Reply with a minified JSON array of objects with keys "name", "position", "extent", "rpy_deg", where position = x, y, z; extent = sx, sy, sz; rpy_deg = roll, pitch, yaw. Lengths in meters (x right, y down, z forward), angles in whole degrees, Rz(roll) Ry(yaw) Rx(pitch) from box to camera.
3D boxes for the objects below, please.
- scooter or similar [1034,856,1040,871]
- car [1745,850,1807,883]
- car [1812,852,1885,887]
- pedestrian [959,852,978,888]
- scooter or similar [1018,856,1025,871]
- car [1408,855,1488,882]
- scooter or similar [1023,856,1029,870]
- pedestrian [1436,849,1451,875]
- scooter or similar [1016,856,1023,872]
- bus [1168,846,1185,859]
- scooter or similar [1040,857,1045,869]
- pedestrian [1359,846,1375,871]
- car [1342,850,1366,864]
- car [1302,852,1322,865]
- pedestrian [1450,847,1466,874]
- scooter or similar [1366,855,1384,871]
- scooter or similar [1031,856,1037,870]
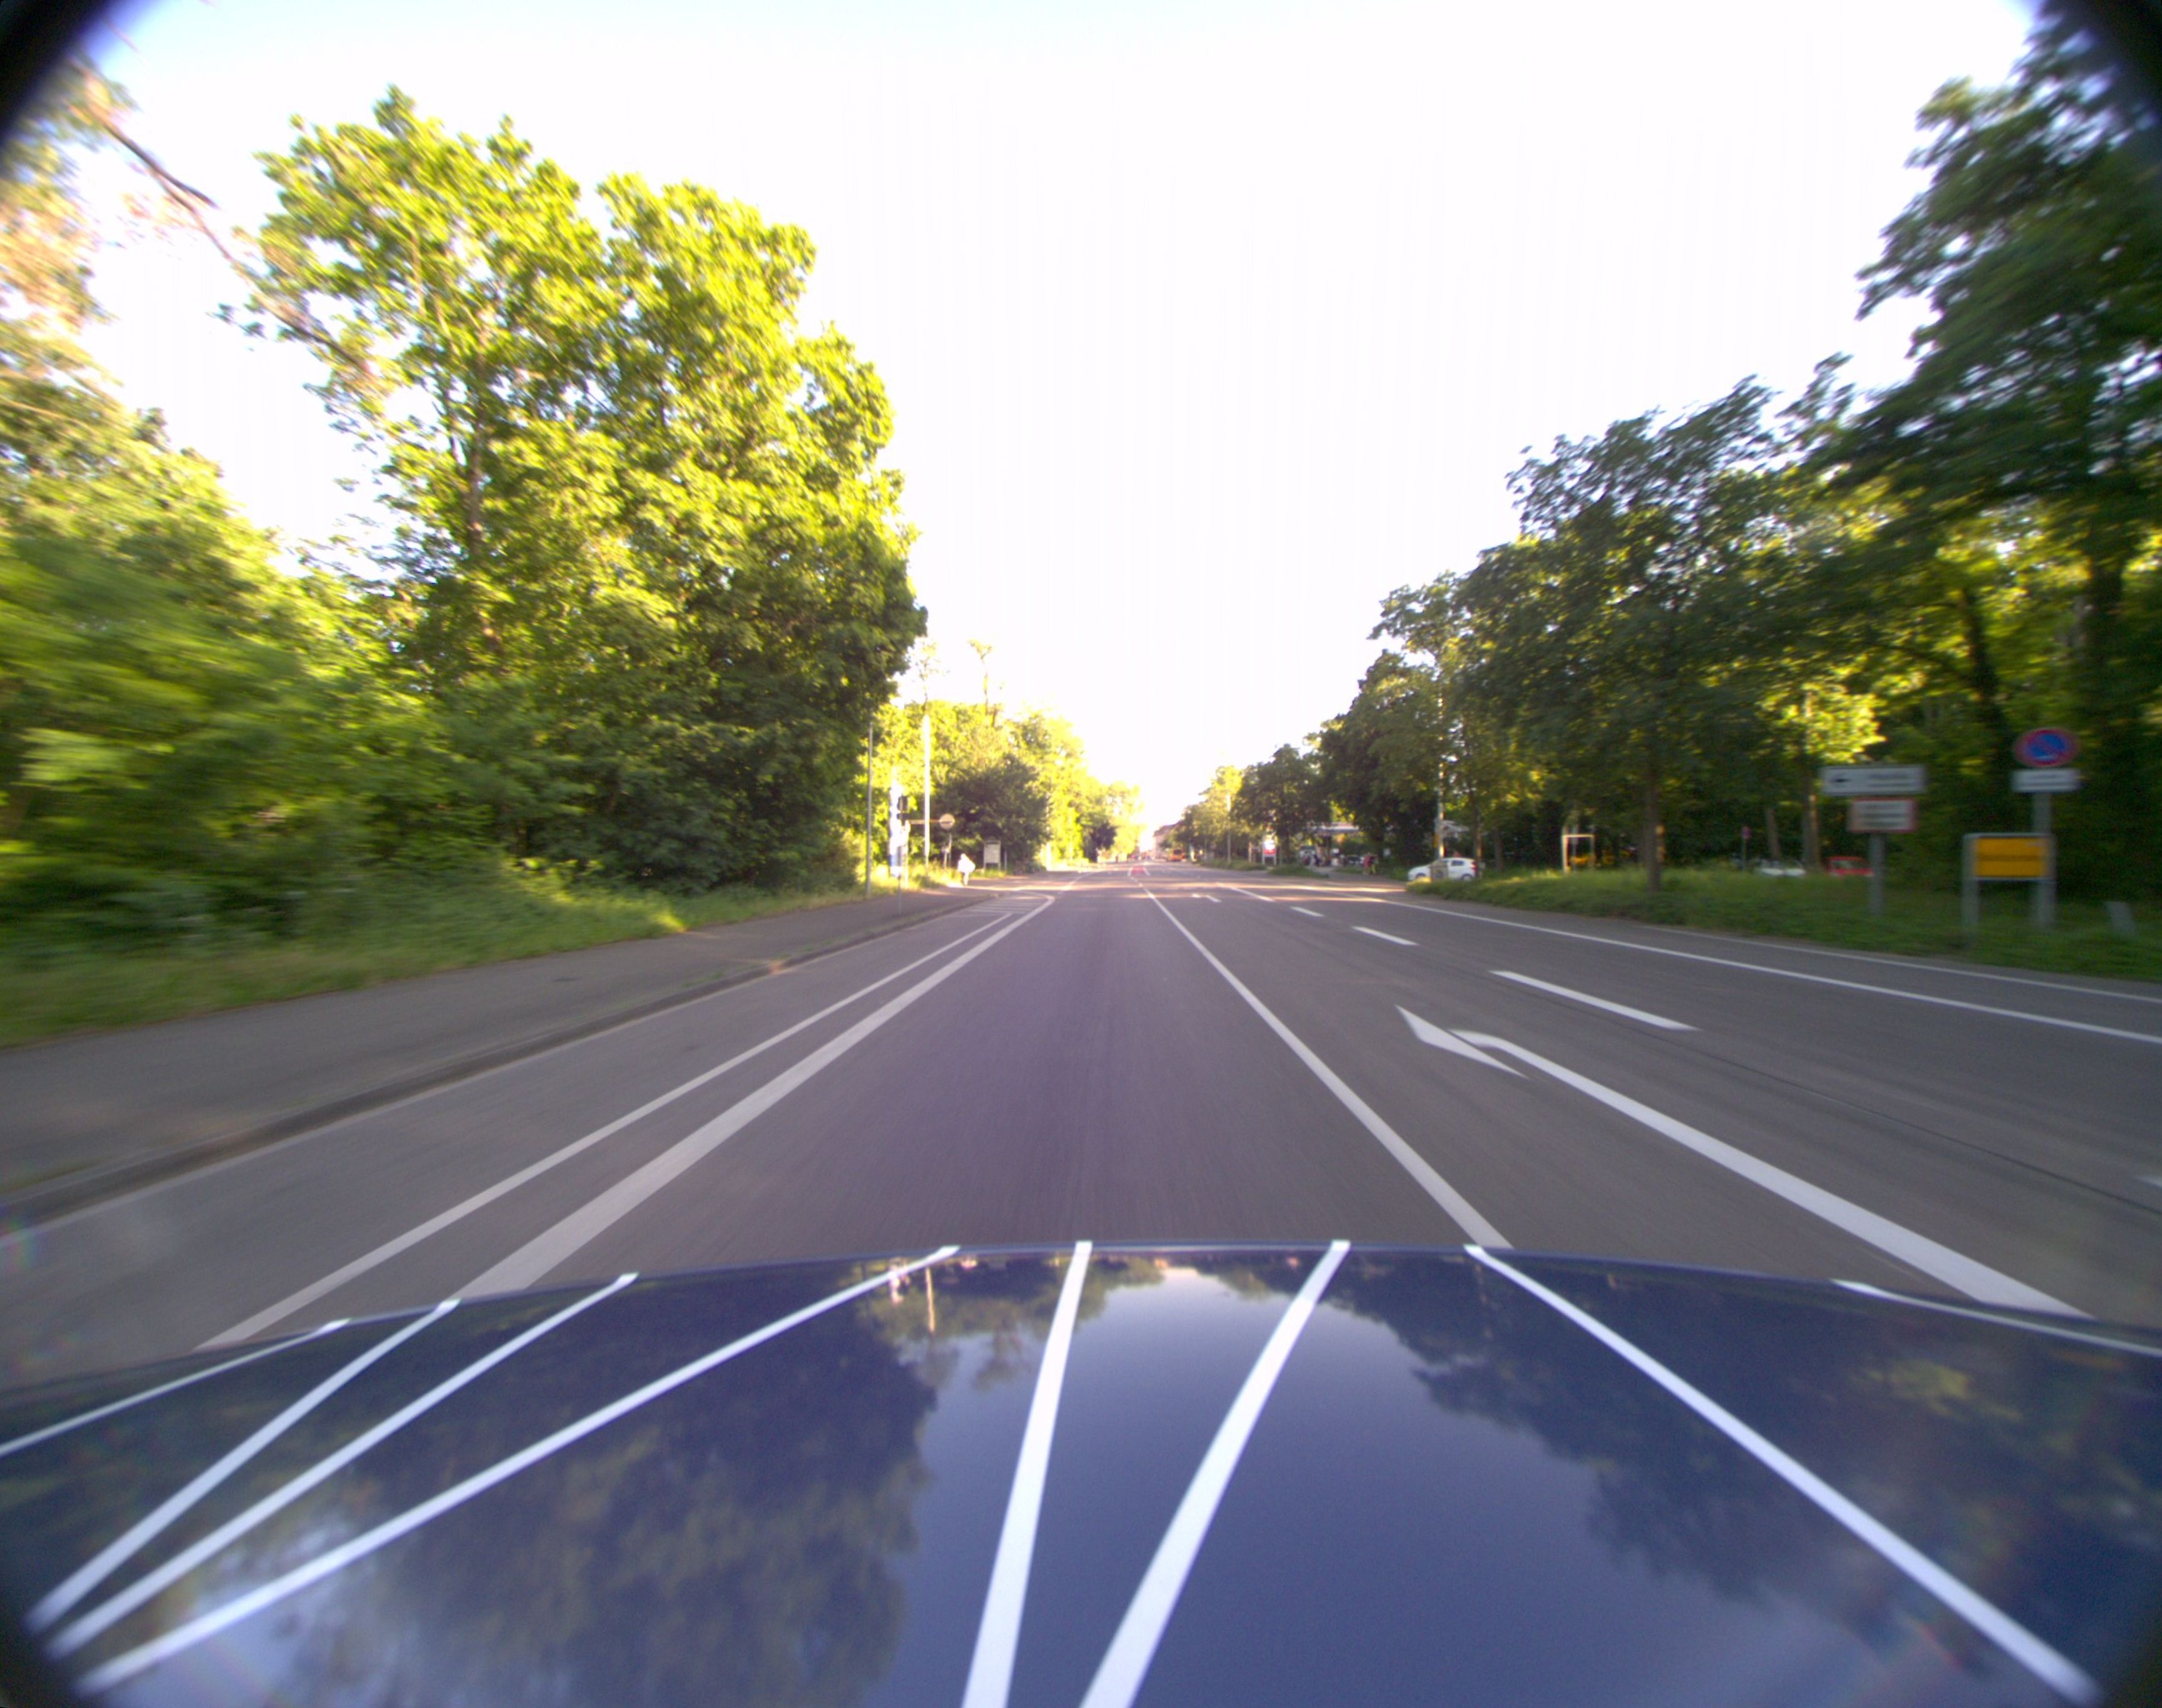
[{"name":"scooter or similar","position":[-3.643,0.794,63.484],"extent":[0.386,1.177,1.103],"rpy_deg":[0,1,3]},{"name":"car","position":[36.422,0.607,39.933],"extent":[1.825,1.644,4.300],"rpy_deg":[0,1,35]},{"name":"car","position":[38.533,0.706,38.264],"extent":[1.825,1.644,4.300],"rpy_deg":[0,1,35]},{"name":"pedestrian","position":[-5.735,0.817,38.863],"extent":[0.809,1.789,0.734],"rpy_deg":[0,1,3]},{"name":"scooter or similar","position":[-4.712,0.756,60.360],"extent":[0.386,1.177,1.103],"rpy_deg":[0,1,3]},{"name":"car","position":[21.397,0.806,44.374],"extent":[3.932,1.517,1.835],"rpy_deg":[0,1,36]},{"name":"scooter or similar","position":[-4.453,0.731,61.547],"extent":[0.386,1.177,1.103],"rpy_deg":[0,1,3]},{"name":"pedestrian","position":[25.110,0.532,52.609],"extent":[0.832,1.809,0.738],"rpy_deg":[0,1,33]},{"name":"scooter or similar","position":[-4.773,0.775,58.652],"extent":[0.386,1.177,1.188],"rpy_deg":[0,1,3]},{"name":"bus","position":[24.670,-0.390,196.575],"extent":[3.038,3.388,9.479],"rpy_deg":[0,0,-1]},{"name":"scooter or similar","position":[-3.554,0.833,70.582],"extent":[0.386,1.177,1.103],"rpy_deg":[0,1,3]},{"name":"pedestrian","position":[20.977,0.298,55.706],"extent":[0.738,1.809,0.832],"rpy_deg":[-1,1,-34]},{"name":"car","position":[32.237,0.316,89.942],"extent":[1.758,1.631,3.838],"rpy_deg":[0,0,5]},{"name":"car","position":[28.871,0.512,95.065],"extent":[1.758,1.631,3.613],"rpy_deg":[0,0,5]},{"name":"pedestrian","position":[25.498,0.455,51.394],"extent":[0.832,1.809,0.738],"rpy_deg":[0,1,33]},{"name":"scooter or similar","position":[22.092,0.669,57.085],"extent":[0.465,1.125,1.342],"rpy_deg":[0,1,-22]},{"name":"scooter or similar","position":[-4.054,0.786,65.070],"extent":[0.386,1.177,1.103],"rpy_deg":[0,1,3]}]
